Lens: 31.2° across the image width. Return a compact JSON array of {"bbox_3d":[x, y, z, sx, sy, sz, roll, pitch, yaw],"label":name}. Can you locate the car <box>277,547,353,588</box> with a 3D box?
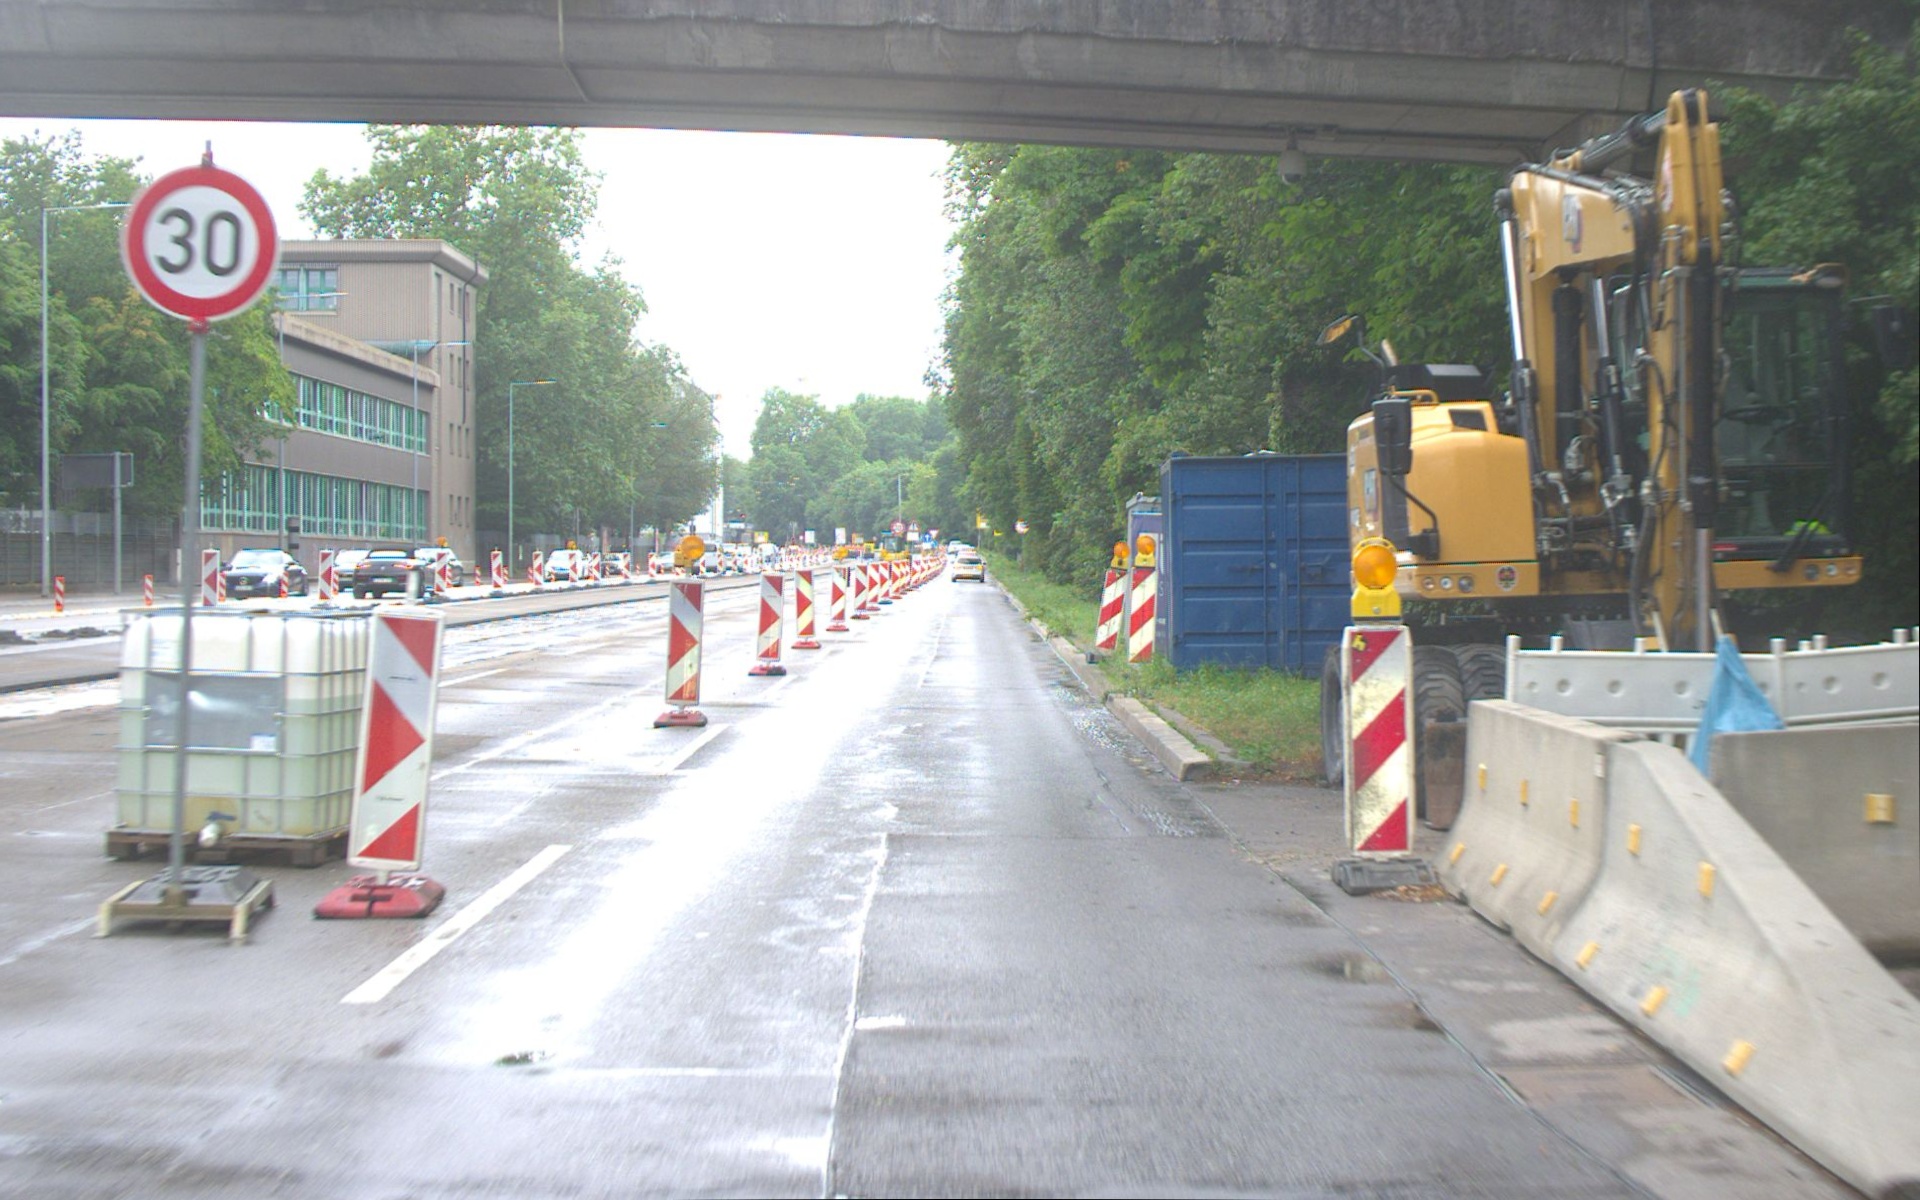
[{"bbox_3d":[-22.994,-1.148,122.688,1.971,1.437,4.000,0,0,0],"label":"car"}]

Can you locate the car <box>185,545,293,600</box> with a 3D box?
[{"bbox_3d":[-18.946,-0.723,90.485,1.971,1.437,4.000,0,0,1],"label":"car"}]

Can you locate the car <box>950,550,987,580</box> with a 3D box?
[{"bbox_3d":[0.449,-1.911,189.091,1.993,1.634,4.000,0,0,0],"label":"car"}]
